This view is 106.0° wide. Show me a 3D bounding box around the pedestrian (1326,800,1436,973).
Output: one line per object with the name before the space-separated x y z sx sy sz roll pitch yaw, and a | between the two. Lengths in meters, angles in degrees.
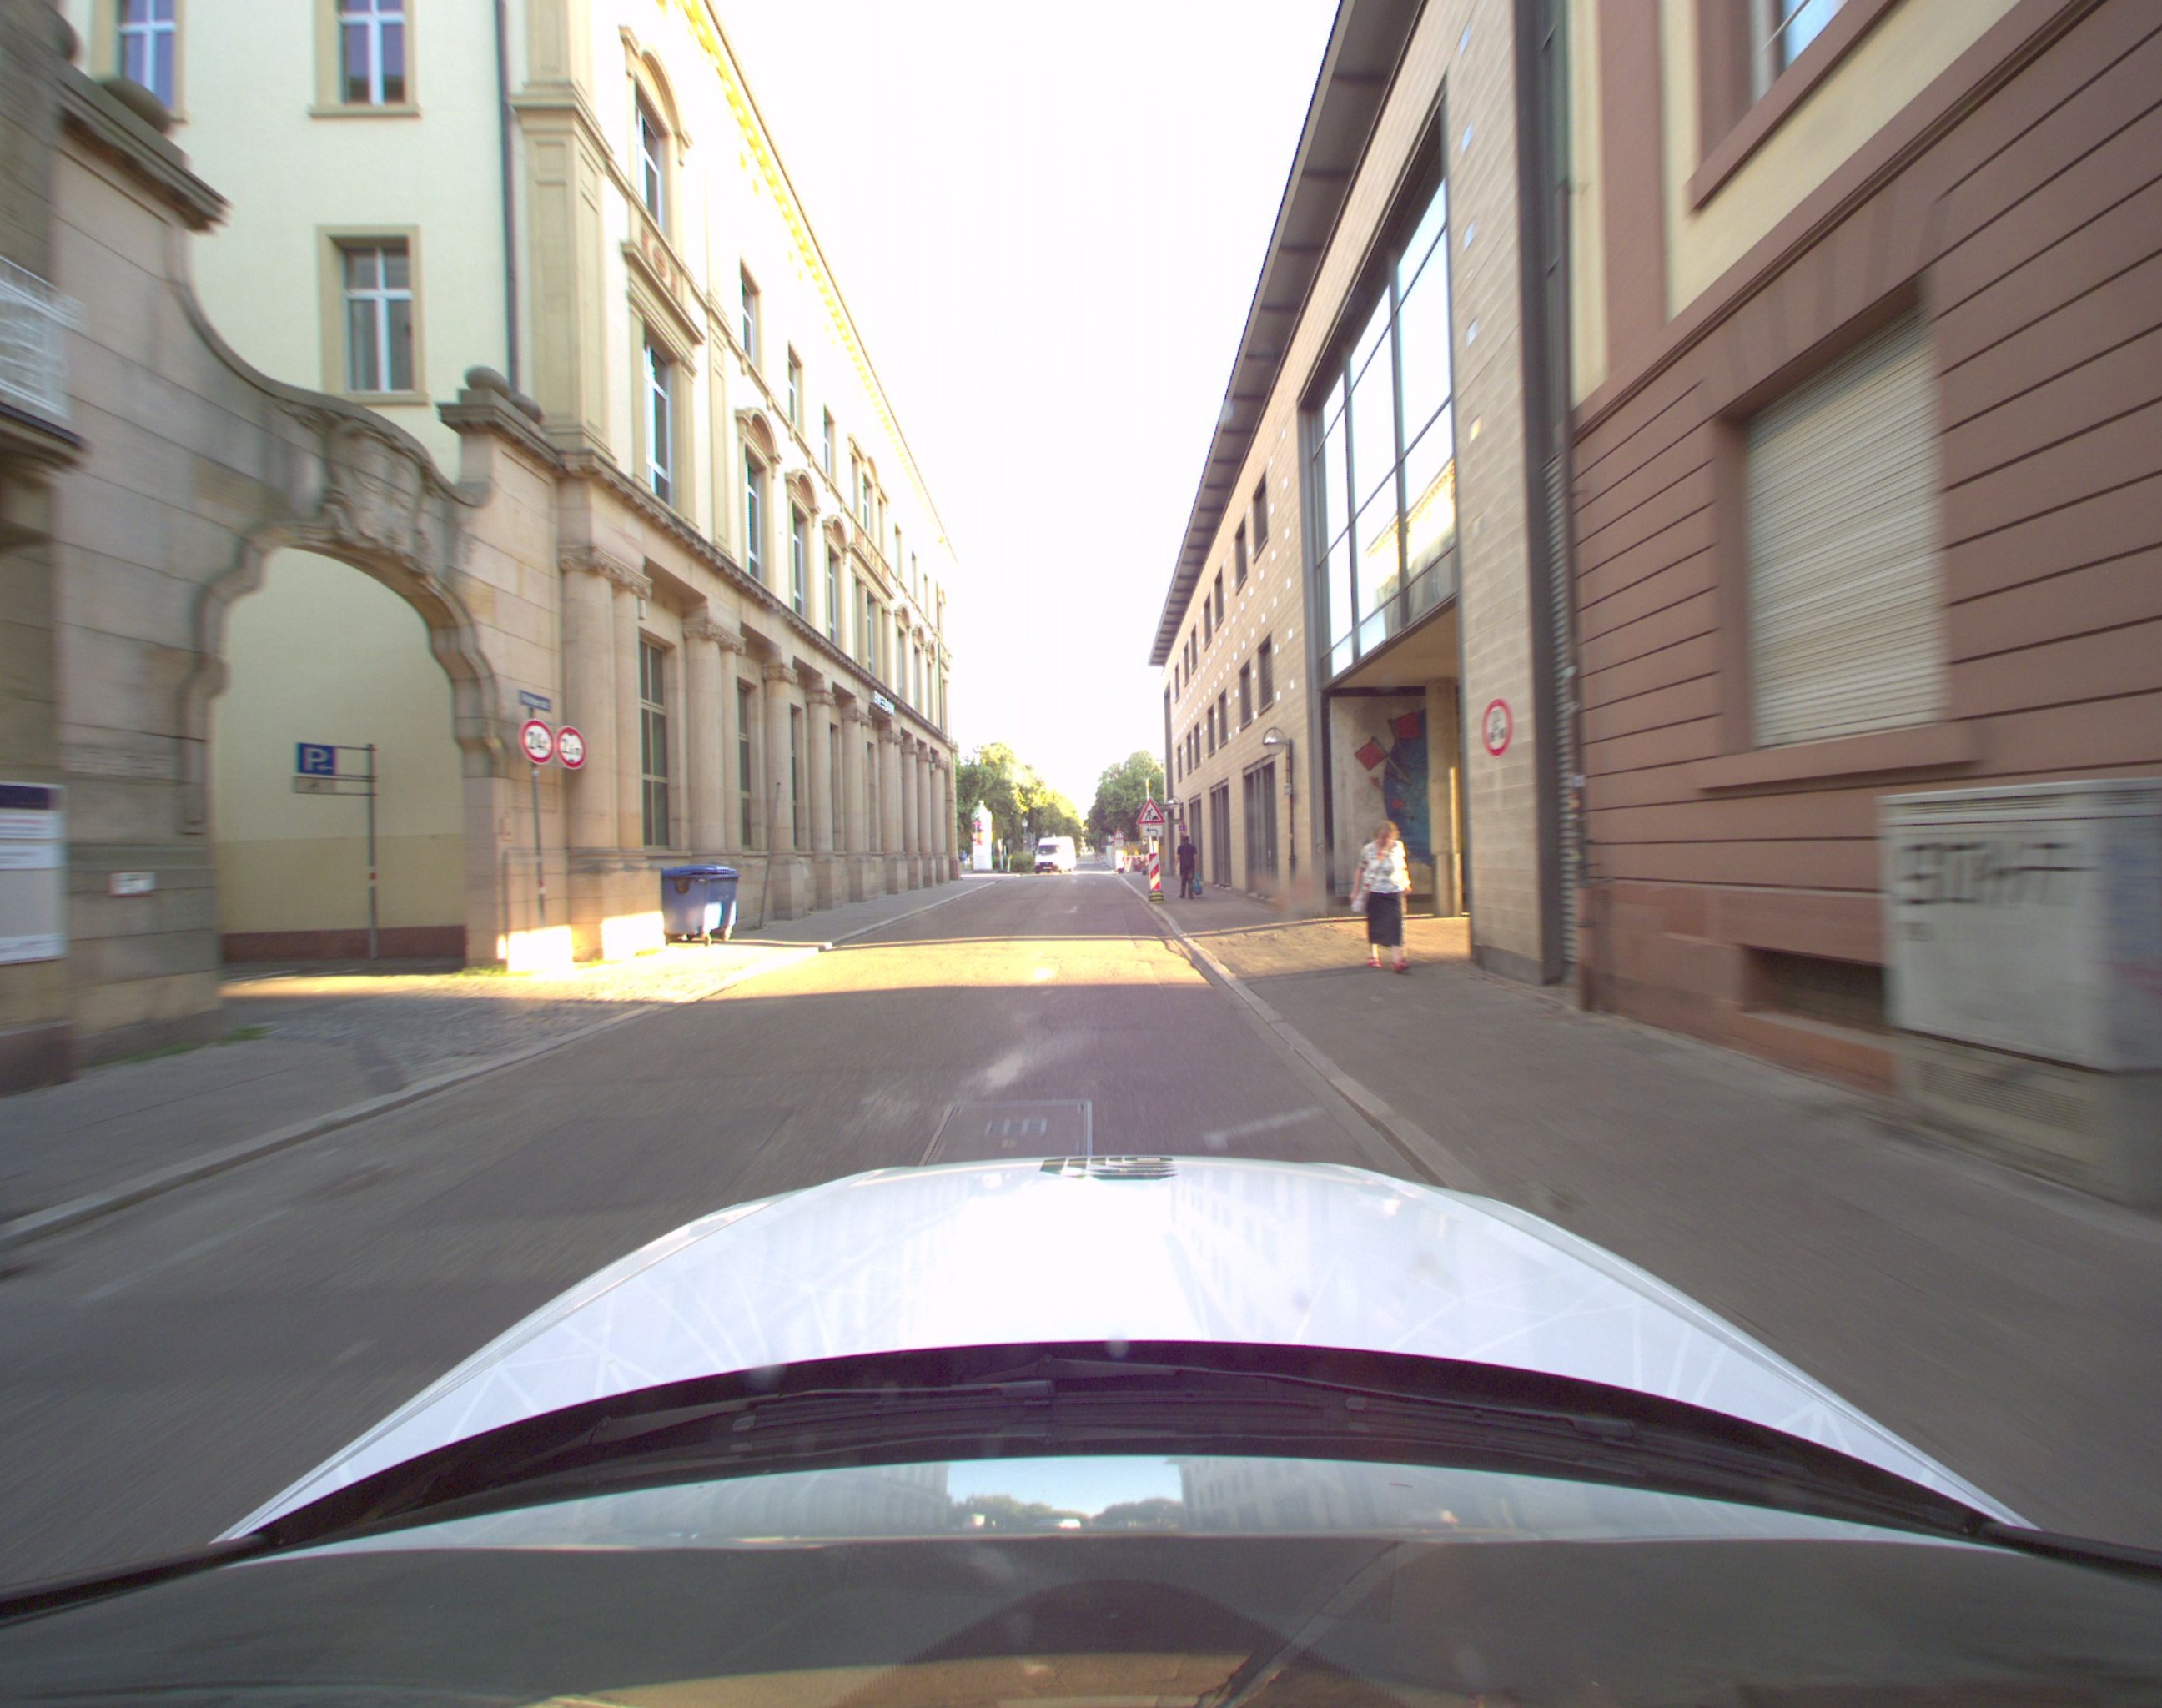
pedestrian | 3.356 0.348 9.214 0.841 1.803 0.898 -4 -1 5

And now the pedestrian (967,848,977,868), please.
pedestrian | -10.084 0.378 75.563 0.850 1.807 0.661 -1 0 -13

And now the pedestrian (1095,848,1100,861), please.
pedestrian | 2.517 0.091 122.054 0.581 2.013 0.680 -1 0 -8

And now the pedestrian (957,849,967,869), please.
pedestrian | -10.993 0.495 75.262 0.850 1.807 0.661 -1 0 -13

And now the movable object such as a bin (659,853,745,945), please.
movable object such as a bin | -6.569 0.754 14.182 0.826 1.503 1.291 -1 0 1

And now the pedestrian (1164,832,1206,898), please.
pedestrian | 2.947 0.311 23.218 0.997 1.803 0.881 -3 -1 -1

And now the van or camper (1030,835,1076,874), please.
van or camper | -1.921 0.022 57.894 2.207 2.585 6.385 -2 0 7
